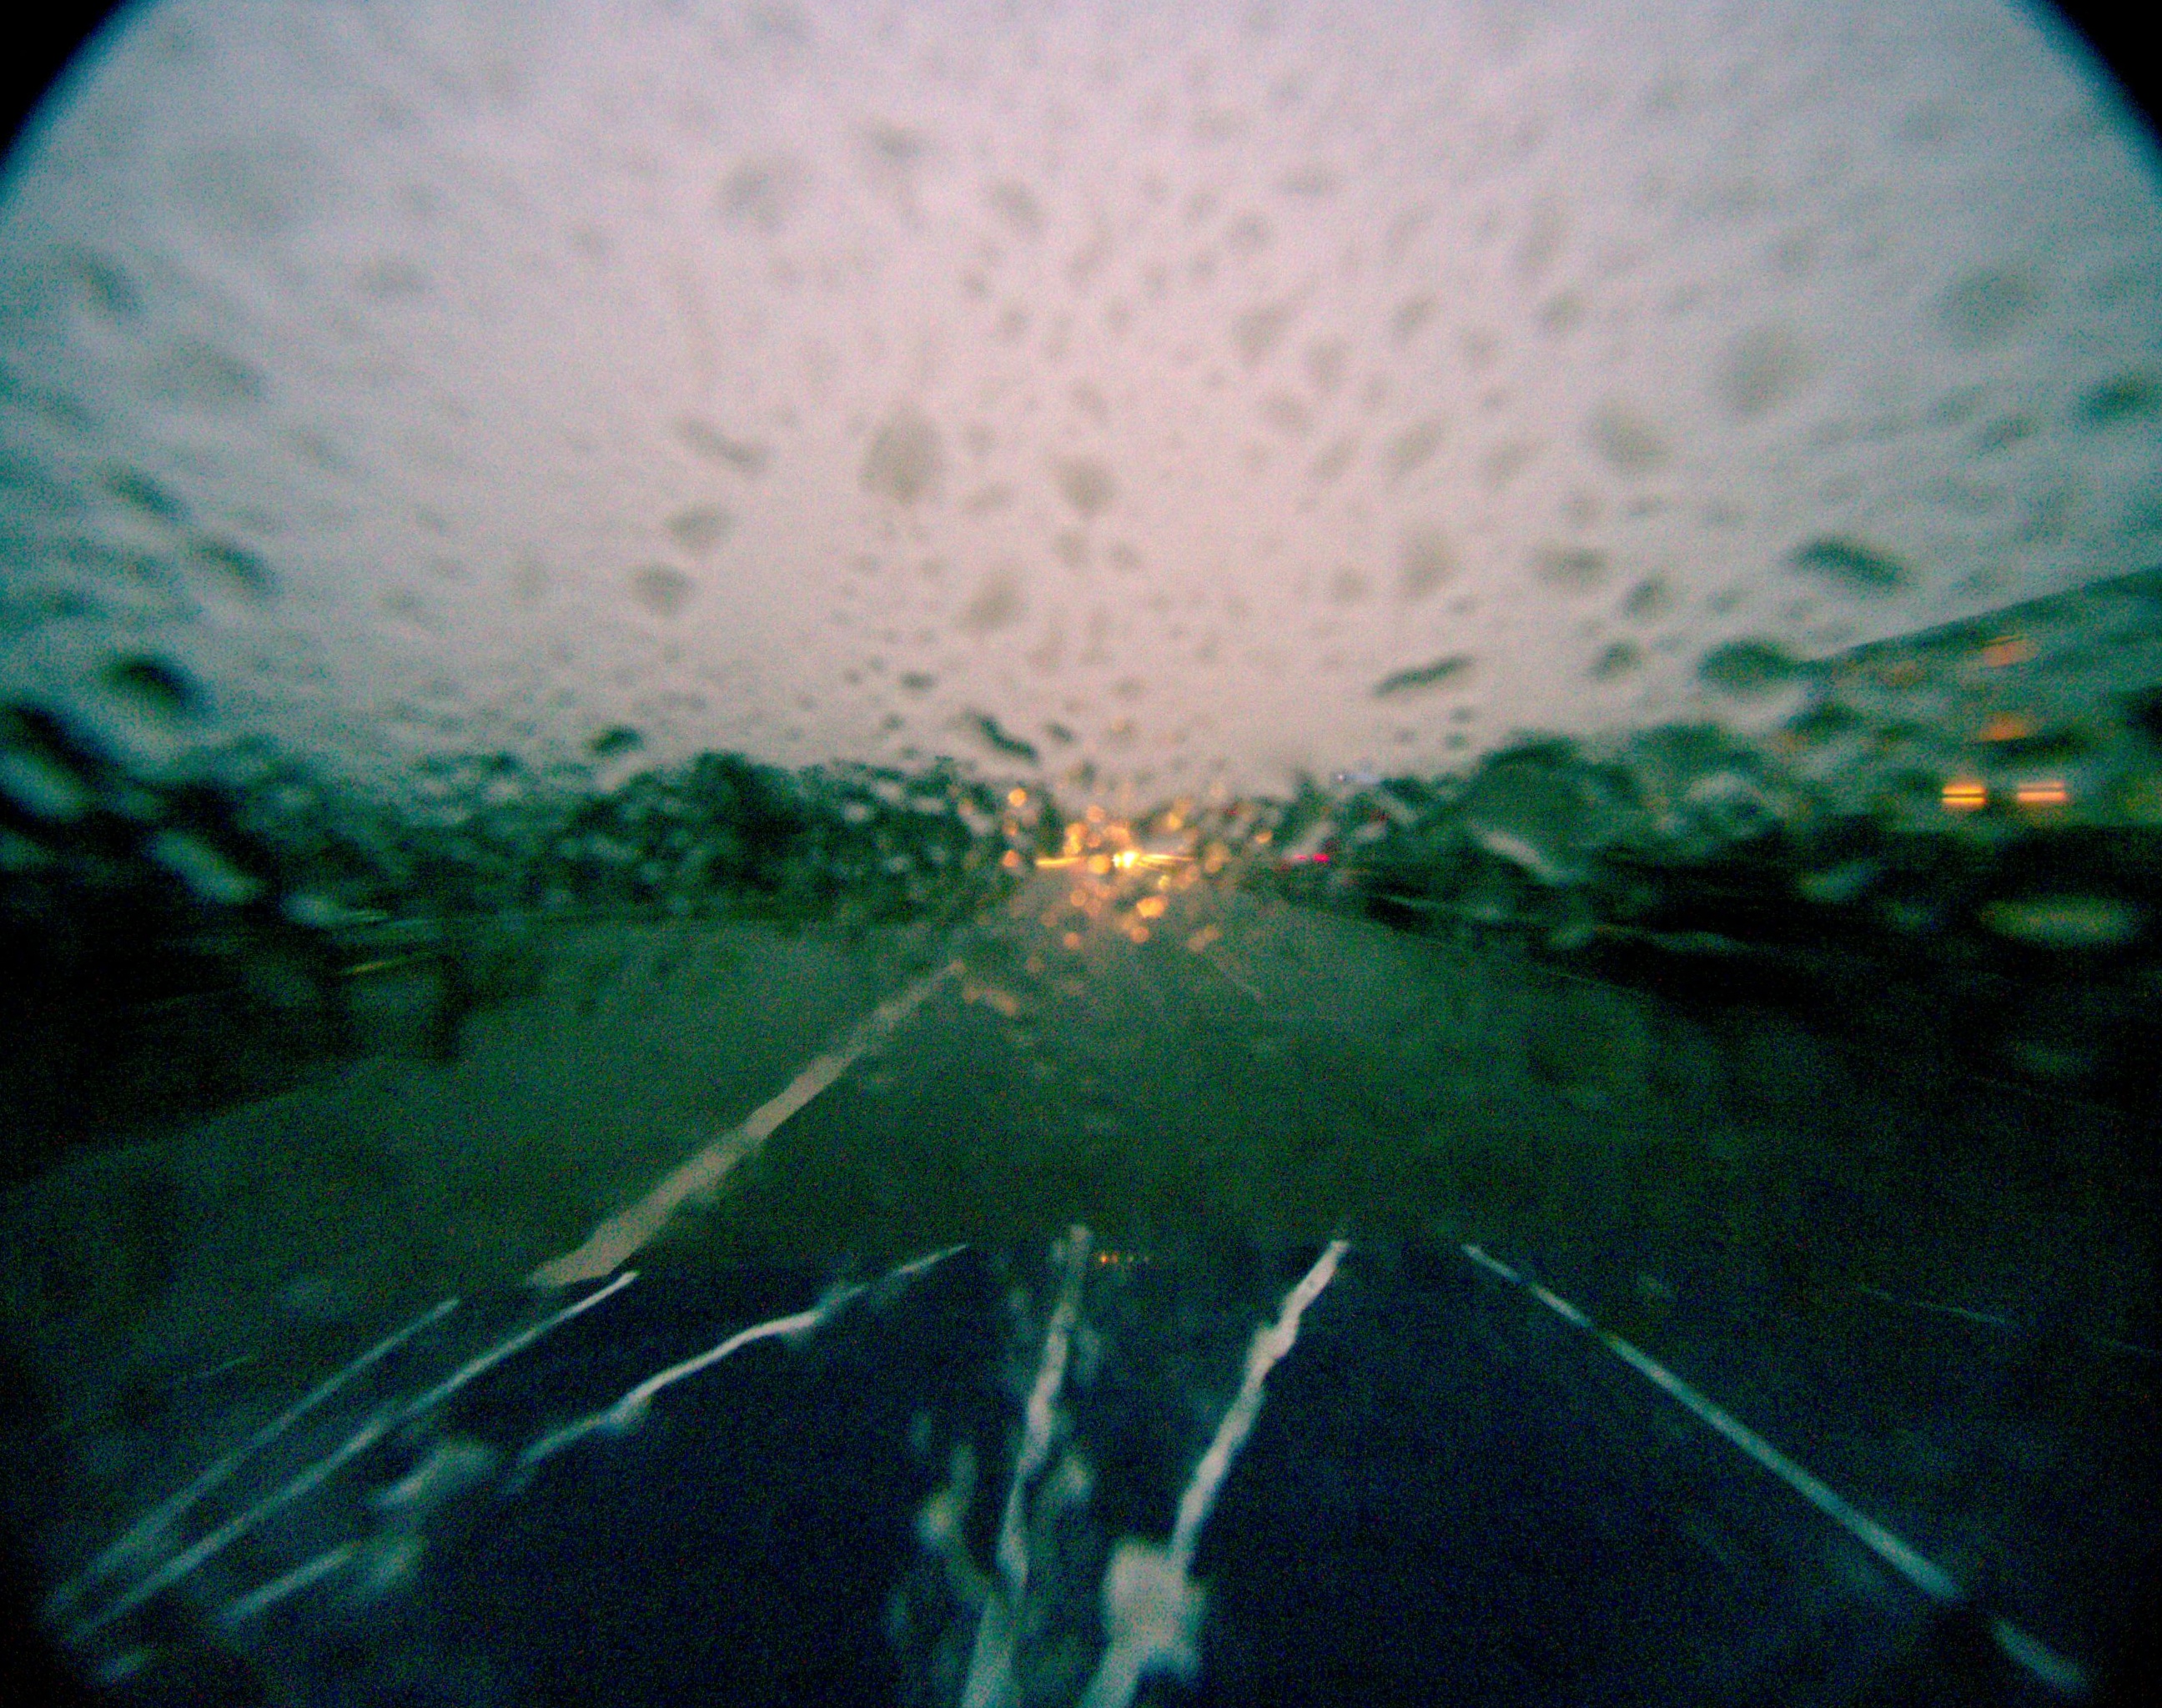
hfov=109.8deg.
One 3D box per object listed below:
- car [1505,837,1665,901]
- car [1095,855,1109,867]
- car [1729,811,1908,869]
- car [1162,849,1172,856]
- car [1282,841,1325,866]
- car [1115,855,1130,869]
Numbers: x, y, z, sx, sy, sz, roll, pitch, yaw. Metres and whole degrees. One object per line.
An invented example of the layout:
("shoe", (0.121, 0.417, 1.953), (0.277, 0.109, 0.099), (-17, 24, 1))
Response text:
("car", (13.635, 0.347, 20.862), (1.741, 1.499, 4.000), (-3, 1, 1))
("car", (2.749, 0.864, 98.135), (1.683, 1.401, 3.775), (-3, 0, 2))
("car", (28.899, -0.515, 30.073), (2.161, 2.002, 4.960), (-3, 0, -1))
("car", (19.235, -0.323, 170.201), (1.998, 1.563, 4.000), (-2, 1, 1))
("car", (14.922, -0.050, 51.097), (1.741, 1.499, 4.000), (-3, 1, 1))
("car", (6.849, 1.329, 125.748), (1.999, 2.002, 3.999), (-4, 0, -2))
